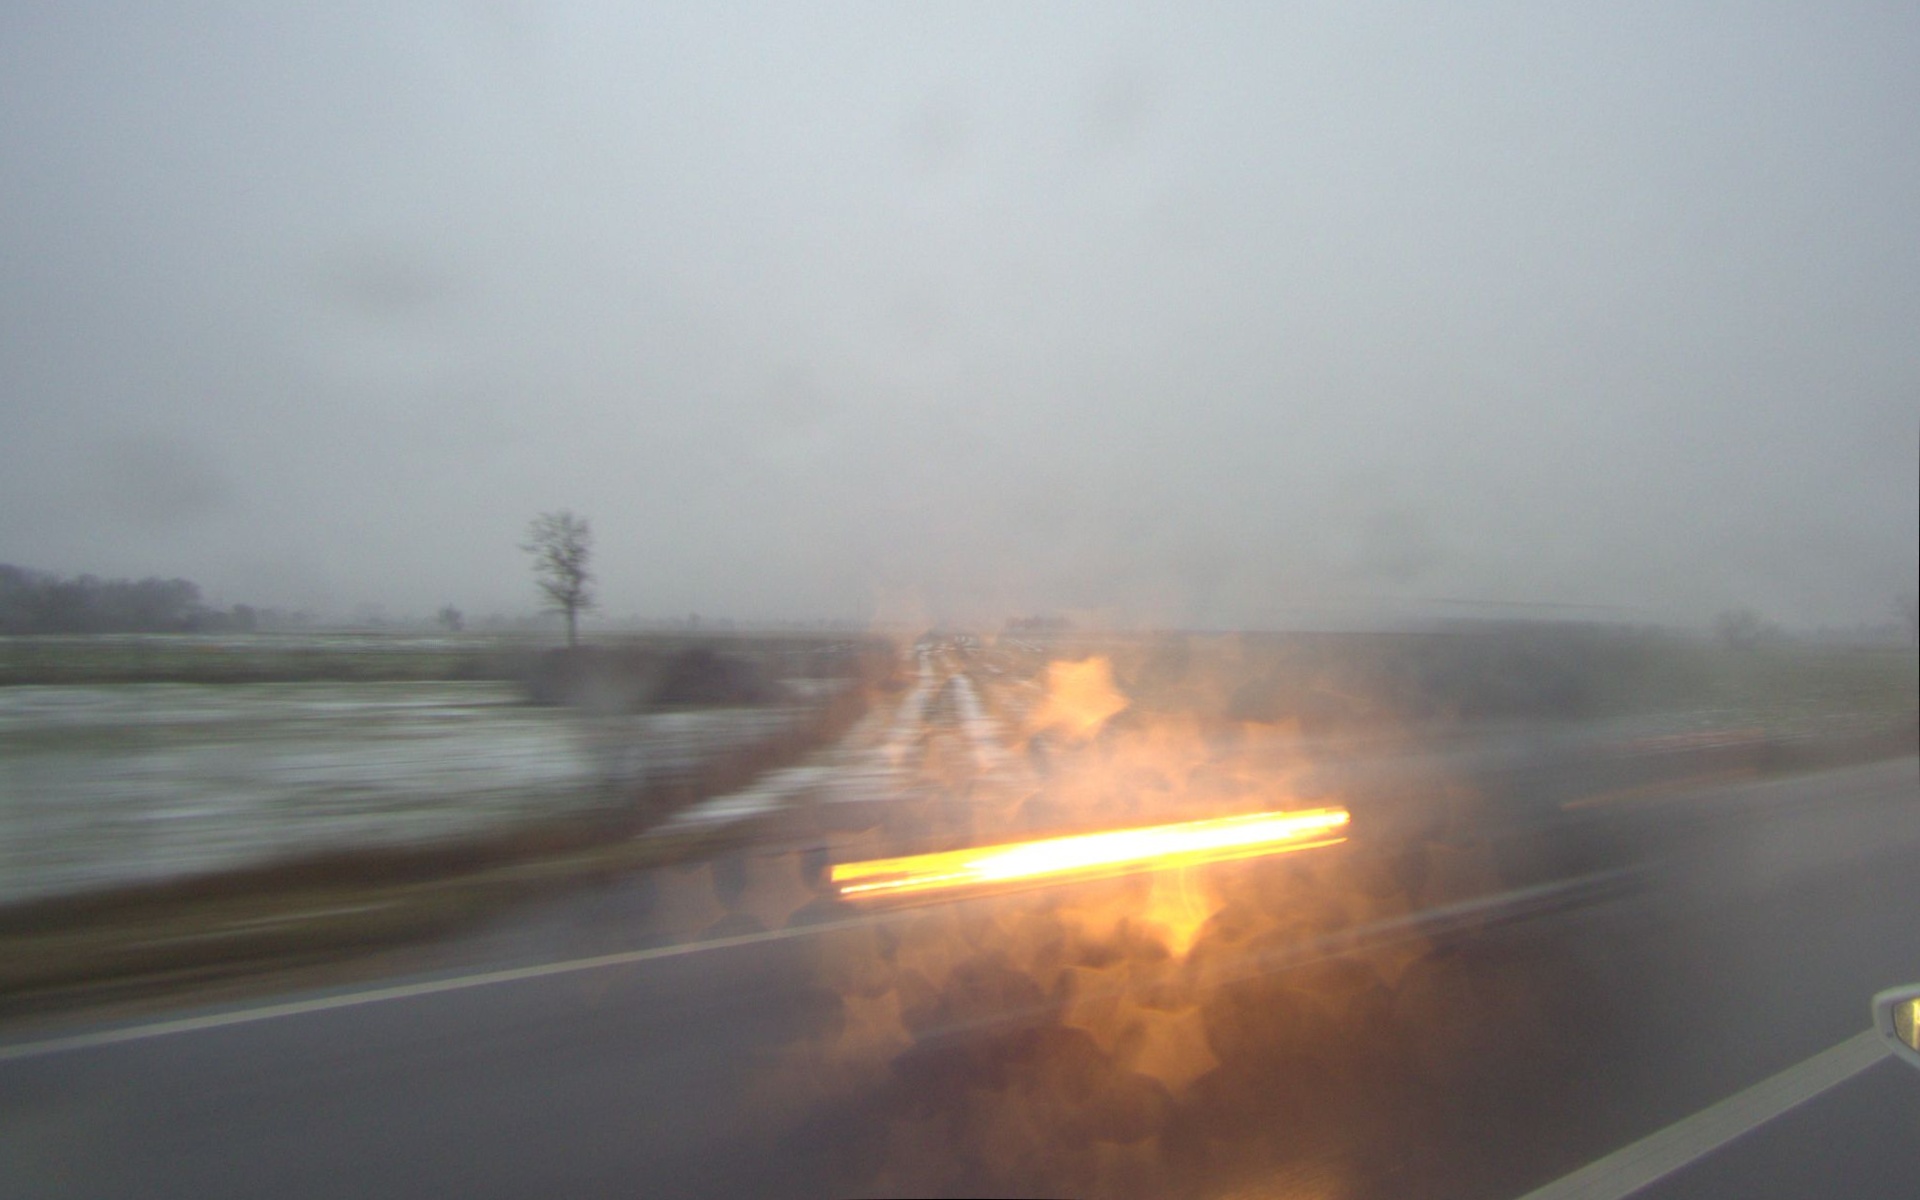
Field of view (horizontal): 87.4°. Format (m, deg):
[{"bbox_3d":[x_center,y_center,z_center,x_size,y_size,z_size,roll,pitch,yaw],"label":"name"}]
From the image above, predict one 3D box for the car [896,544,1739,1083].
[{"bbox_3d":[1.921,0.751,5.047,4.138,1.708,1.786,2,-2,-31],"label":"car"}]
